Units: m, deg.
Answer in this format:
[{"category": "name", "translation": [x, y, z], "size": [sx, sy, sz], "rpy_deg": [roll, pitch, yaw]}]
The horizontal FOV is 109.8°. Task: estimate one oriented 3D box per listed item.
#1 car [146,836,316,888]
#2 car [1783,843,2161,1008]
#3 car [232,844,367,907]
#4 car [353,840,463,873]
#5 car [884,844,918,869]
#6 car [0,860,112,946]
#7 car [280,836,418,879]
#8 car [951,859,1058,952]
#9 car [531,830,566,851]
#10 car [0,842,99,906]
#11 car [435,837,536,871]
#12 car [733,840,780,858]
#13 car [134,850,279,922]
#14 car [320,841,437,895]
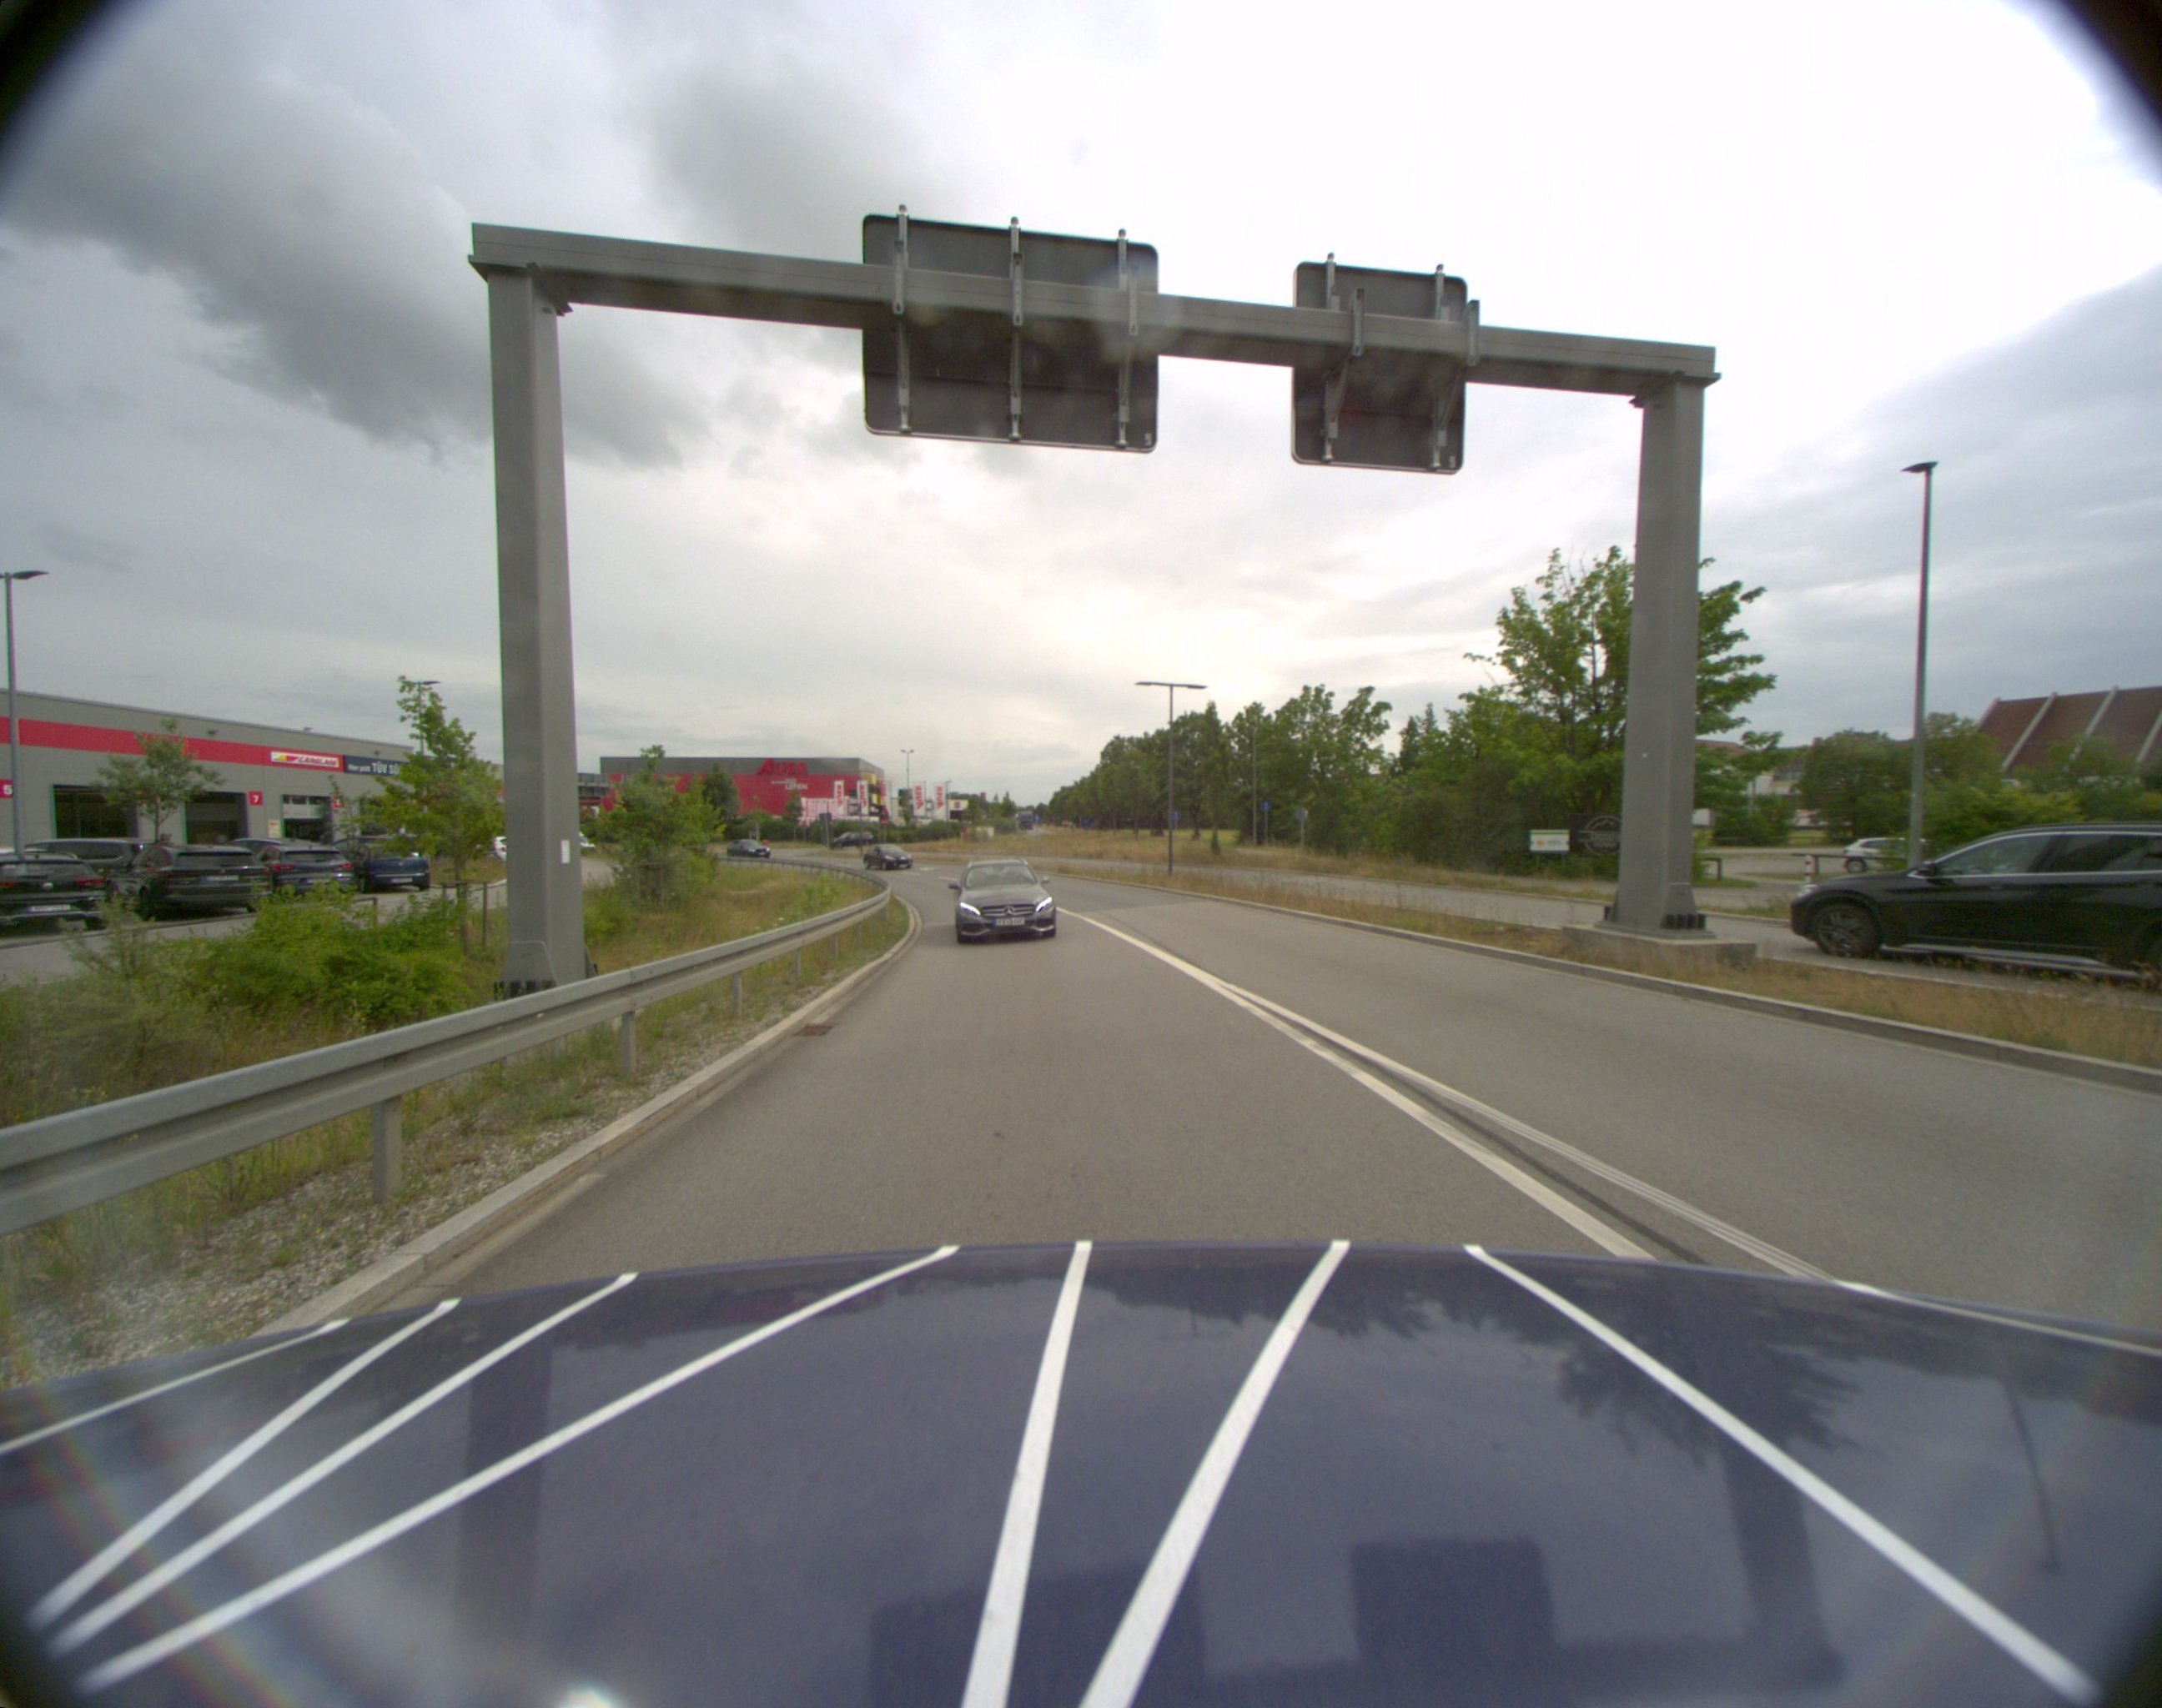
[{"category": "car", "translation": [-29.886, 0.248, 26.829], "size": [3.700, 1.536, 1.589], "rpy_deg": [-3, 3, -11]}, {"category": "car", "translation": [10.322, 0.618, 7.798], "size": [1.893, 1.458, 4.276], "rpy_deg": [0, 1, -10]}, {"category": "car", "translation": [-23.371, 0.573, 22.698], "size": [4.065, 1.613, 1.833], "rpy_deg": [2, 2, 29]}, {"category": "car", "translation": [-30.095, 0.095, 34.050], "size": [3.323, 1.316, 1.479], "rpy_deg": [-2, 2, -11]}, {"category": "car", "translation": [-11.119, 0.128, 46.713], "size": [1.767, 1.310, 3.952], "rpy_deg": [-3, 3, -16]}, {"category": "car", "translation": [-22.235, 0.975, 15.991], "size": [4.066, 1.613, 1.653], "rpy_deg": [-1, 0, 29]}, {"category": "car", "translation": [-29.832, 0.114, 31.072], "size": [3.700, 1.536, 1.589], "rpy_deg": [-3, 3, -11]}, {"category": "car", "translation": [-1.653, 0.894, 15.151], "size": [1.766, 1.412, 4.087], "rpy_deg": [-3, 1, -10]}, {"category": "car", "translation": [-42.441, -1.092, 60.566], "size": [1.593, 1.536, 3.689], "rpy_deg": [-5, 3, -45]}, {"category": "car", "translation": [-28.374, 0.562, 19.473], "size": [3.700, 1.536, 1.589], "rpy_deg": [-3, 3, -11]}, {"category": "car", "translation": [-30.812, -0.034, 39.422], "size": [3.700, 1.536, 1.589], "rpy_deg": [-3, 3, -11]}, {"category": "car", "translation": [-26.988, -0.441, 63.057], "size": [4.543, 1.404, 1.864], "rpy_deg": [1, 4, 43]}, {"category": "car", "translation": [-21.794, 0.763, 18.904], "size": [4.066, 1.612, 1.740], "rpy_deg": [-1, 0, 33]}, {"category": "car", "translation": [-23.810, 0.413, 25.723], "size": [4.065, 1.613, 1.740], "rpy_deg": [2, 2, 29]}]
